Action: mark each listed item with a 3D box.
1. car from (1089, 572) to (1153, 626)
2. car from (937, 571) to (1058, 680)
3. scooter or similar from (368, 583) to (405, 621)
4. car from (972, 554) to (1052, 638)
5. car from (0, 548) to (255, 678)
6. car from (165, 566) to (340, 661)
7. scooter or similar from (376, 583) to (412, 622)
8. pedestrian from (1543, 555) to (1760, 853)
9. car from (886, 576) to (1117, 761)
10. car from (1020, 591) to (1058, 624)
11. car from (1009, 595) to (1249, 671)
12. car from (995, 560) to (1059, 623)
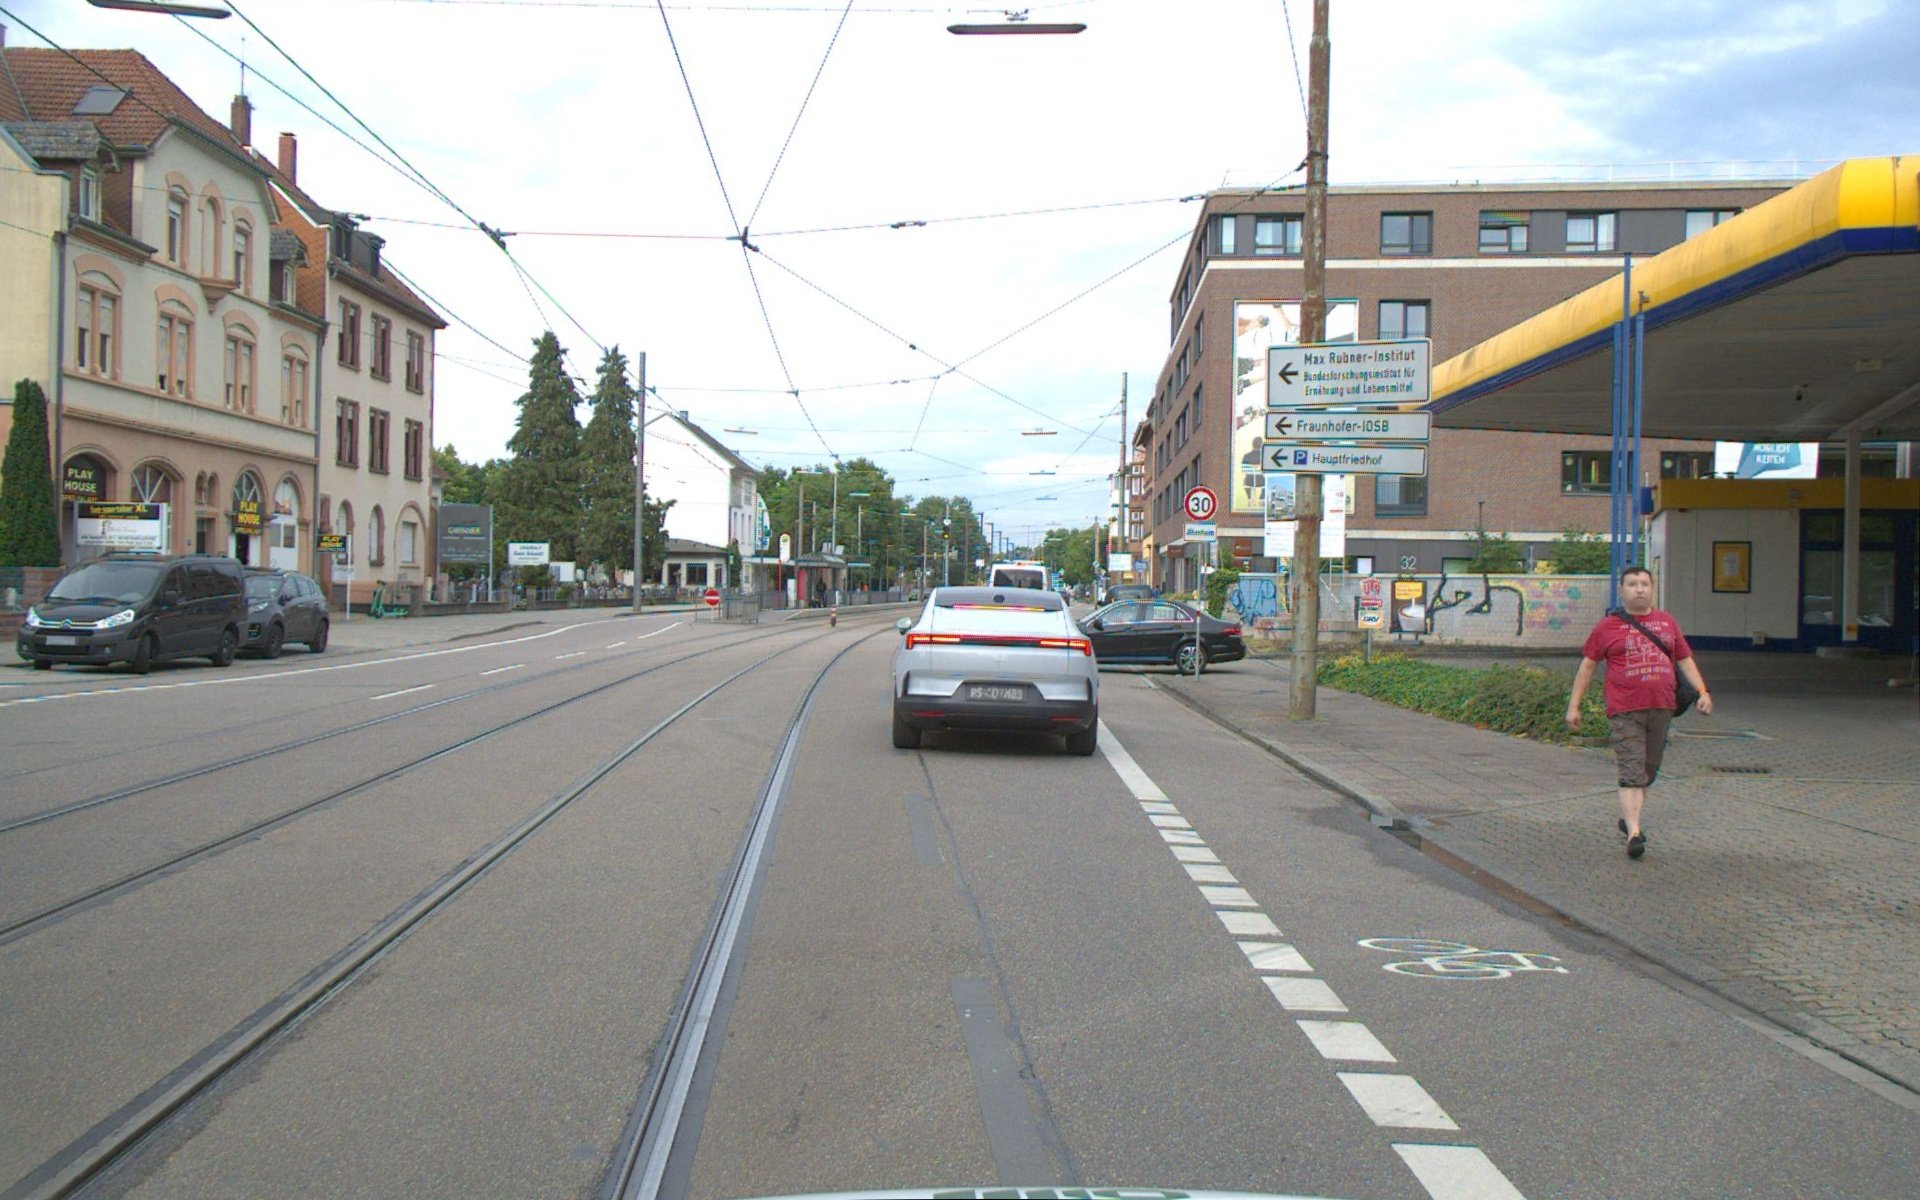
[{"bbox_3d":[5.897,-0.021,60.958,1.836,1.855,4.095,2,0,-1],"label":"car"},{"bbox_3d":[0.624,0.449,30.409,1.929,1.787,3.836,2,0,-2],"label":"car"},{"bbox_3d":[-18.878,0.074,54.451,1.040,1.209,0.314,3,-1,-36],"label":"scooter or similar"},{"bbox_3d":[1.588,-0.111,52.528,2.172,2.465,4.949,2,0,-2],"label":"car"},{"bbox_3d":[-13.942,0.212,27.912,1.951,1.920,4.997,2,0,-1],"label":"car"},{"bbox_3d":[-14.340,0.270,33.787,1.807,1.748,4.191,2,0,-2],"label":"car"},{"bbox_3d":[-18.487,0.086,54.006,1.040,1.209,0.314,3,-1,-36],"label":"scooter or similar"},{"bbox_3d":[4.313,0.626,10.381,0.952,1.769,0.861,-1,-1,-1],"label":"pedestrian"},{"bbox_3d":[0.280,0.604,16.875,1.942,1.577,4.180,2,0,-4],"label":"car"},{"bbox_3d":[5.221,0.492,109.910,1.954,2.049,3.997,2,0,-4],"label":"car"},{"bbox_3d":[3.503,0.650,34.102,4.766,1.452,1.954,1,0,8],"label":"car"},{"bbox_3d":[2.472,-0.299,62.171,2.096,2.183,4.742,2,0,-1],"label":"car"}]
